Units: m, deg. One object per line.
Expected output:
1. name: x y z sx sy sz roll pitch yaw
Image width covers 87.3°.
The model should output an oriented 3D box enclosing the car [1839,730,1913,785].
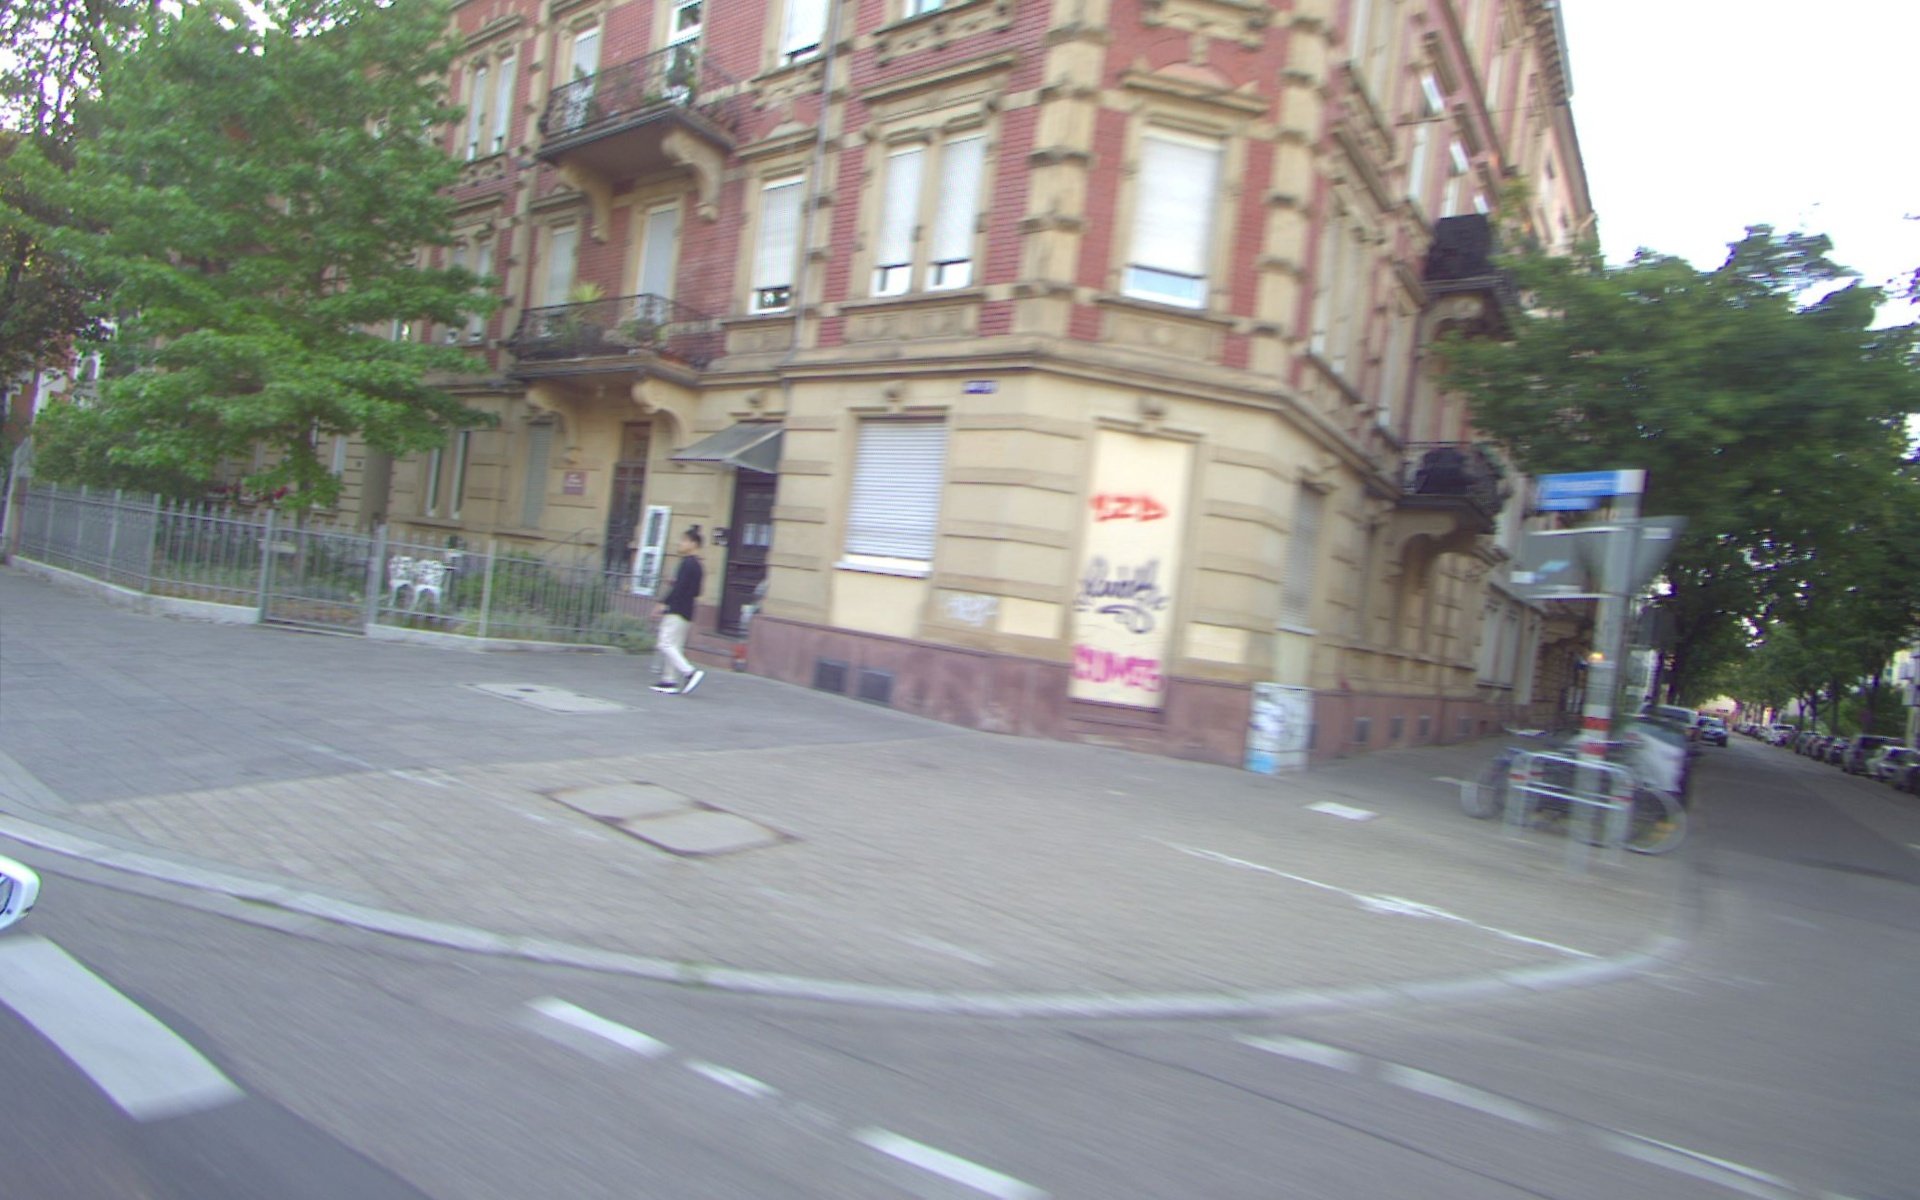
1. car: 41.017 7.022 45.124 1.820 1.995 3.988 8 0 37

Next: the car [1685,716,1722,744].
1. car: 46.043 8.031 62.325 1.676 1.351 3.988 7 -1 37

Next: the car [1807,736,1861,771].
1. car: 49.774 8.715 57.357 1.820 1.499 3.988 7 -1 37

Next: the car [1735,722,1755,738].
1. car: 106.388 17.597 136.310 1.820 1.912 3.988 7 0 37

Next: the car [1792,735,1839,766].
1. car: 53.980 9.491 63.519 1.820 1.499 3.988 7 -1 37

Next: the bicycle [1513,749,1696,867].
1. bicycle: 6.673 2.133 10.473 1.473 0.826 0.295 11 1 33

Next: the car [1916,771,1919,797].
1. car: 29.719 5.360 29.476 1.820 1.435 3.988 7 -1 37

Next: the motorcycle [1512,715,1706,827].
1. motorcycle: 9.841 2.573 15.339 0.880 1.135 2.183 11 0 -39

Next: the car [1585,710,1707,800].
1. car: 14.890 3.264 21.820 1.885 1.474 3.988 7 -1 36

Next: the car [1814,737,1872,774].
1. car: 46.647 8.198 53.219 1.820 1.499 3.988 7 -1 37

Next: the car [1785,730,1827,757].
1. car: 58.724 9.943 69.898 1.820 1.499 3.988 7 -1 37

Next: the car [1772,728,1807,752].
1. car: 67.593 11.388 81.981 1.820 1.499 3.988 7 -1 37

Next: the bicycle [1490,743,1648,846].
1. bicycle: 7.205 2.283 11.948 1.473 0.826 0.295 11 1 33

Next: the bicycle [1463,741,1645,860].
1. bicycle: 6.093 2.038 10.379 1.477 0.826 0.294 11 1 45

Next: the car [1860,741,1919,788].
1. car: 38.297 6.719 41.024 1.820 1.499 3.988 7 -1 37

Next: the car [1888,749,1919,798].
1. car: 33.064 5.975 34.072 1.820 1.435 3.988 7 -1 37

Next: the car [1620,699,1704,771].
1. car: 22.889 4.342 32.766 1.951 1.892 3.988 7 0 37

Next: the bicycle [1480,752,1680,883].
1. bicycle: 5.812 2.021 9.498 1.473 0.826 0.292 11 1 33

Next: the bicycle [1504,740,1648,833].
1. bicycle: 8.008 2.411 13.122 1.473 0.826 0.295 11 1 33

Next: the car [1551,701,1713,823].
1. car: 12.050 2.786 18.005 1.968 1.526 3.988 11 2 36

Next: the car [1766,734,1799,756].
1. car: 71.727 12.597 87.751 1.820 1.499 4.064 7 -1 37

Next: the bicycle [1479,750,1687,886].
1. bicycle: 5.642 1.957 9.177 1.473 0.826 0.292 11 1 33

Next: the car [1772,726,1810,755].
1. car: 64.146 10.842 77.709 1.820 1.858 3.988 7 0 37

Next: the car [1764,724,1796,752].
1. car: 76.440 12.839 93.819 1.820 2.260 3.988 8 0 37

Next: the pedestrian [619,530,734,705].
1. pedestrian: -3.137 0.184 11.141 0.818 1.803 0.745 8 4 33
